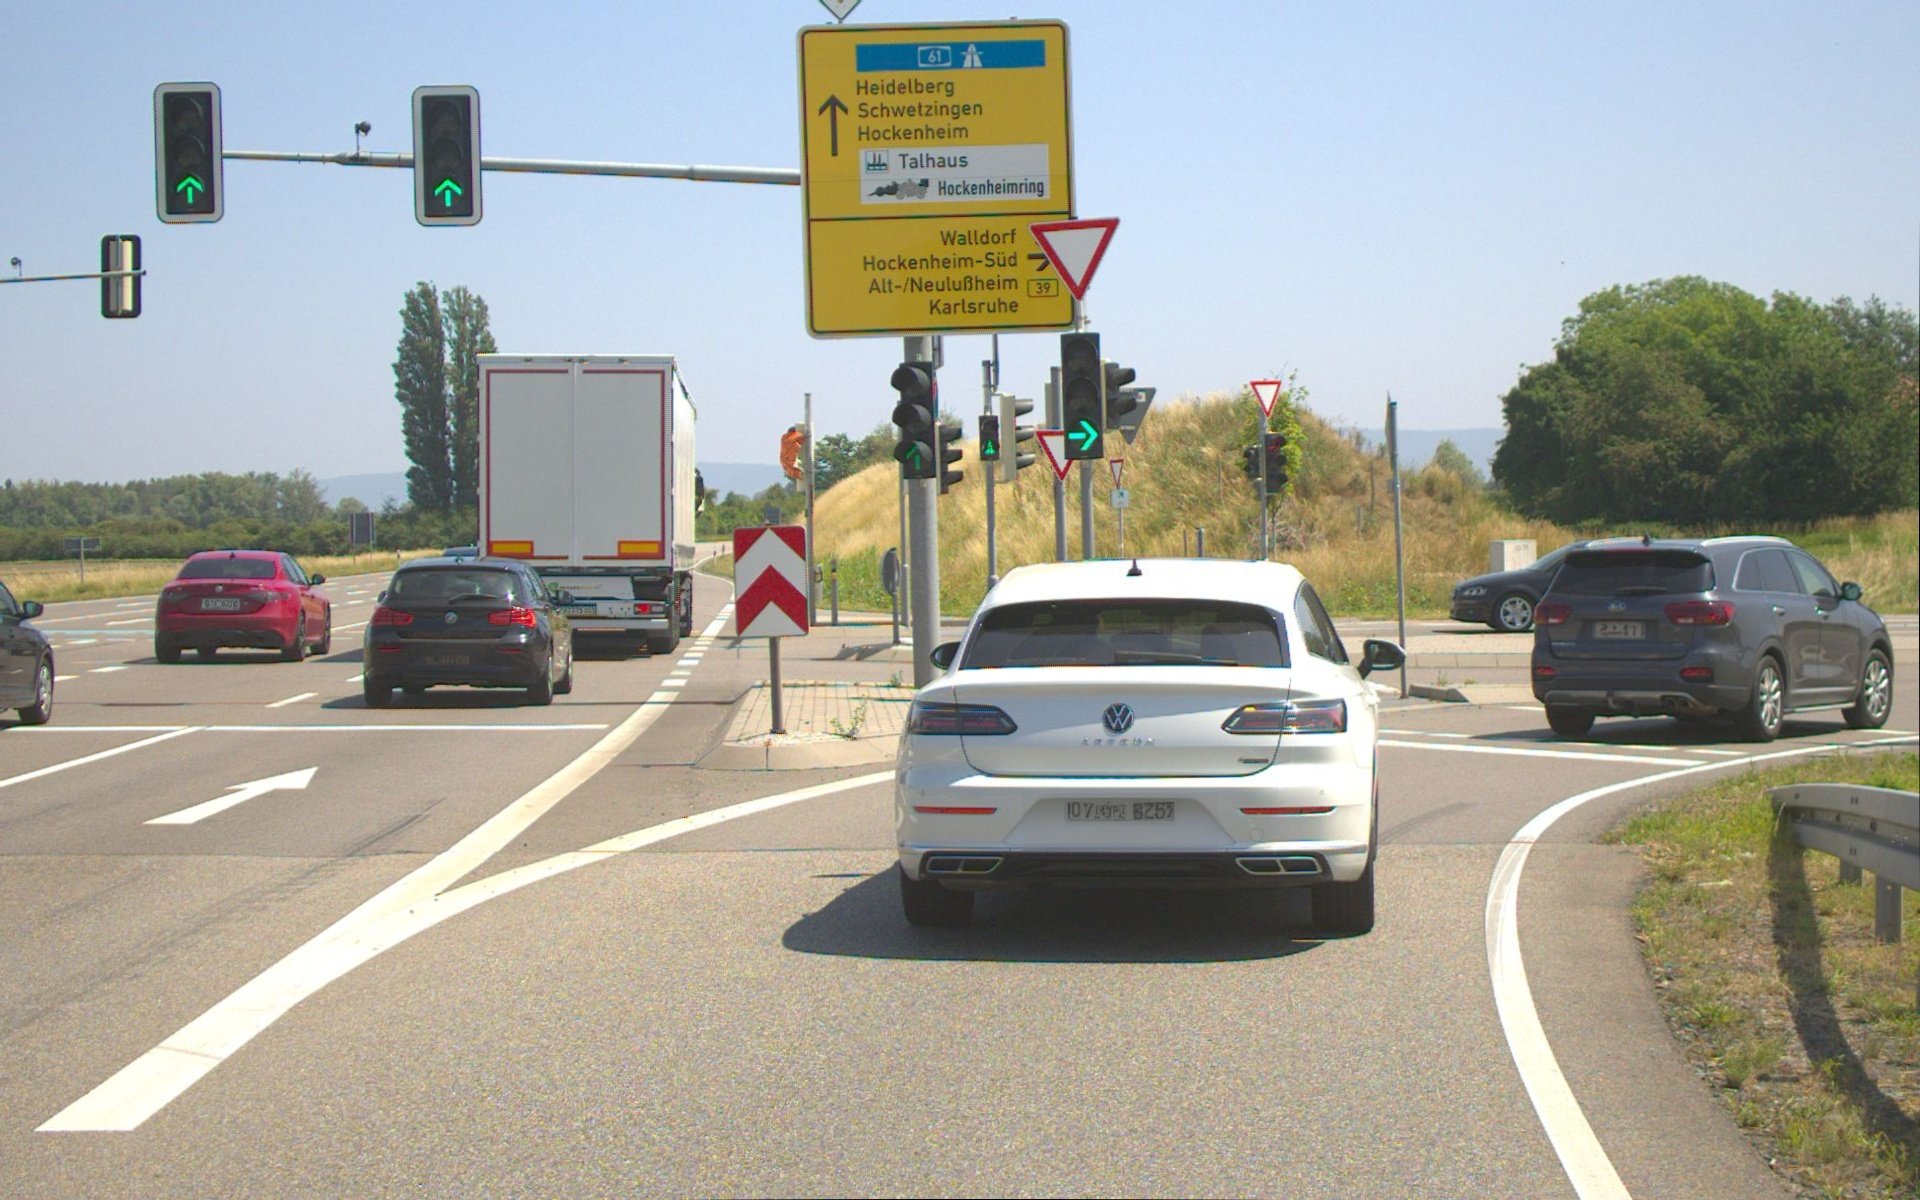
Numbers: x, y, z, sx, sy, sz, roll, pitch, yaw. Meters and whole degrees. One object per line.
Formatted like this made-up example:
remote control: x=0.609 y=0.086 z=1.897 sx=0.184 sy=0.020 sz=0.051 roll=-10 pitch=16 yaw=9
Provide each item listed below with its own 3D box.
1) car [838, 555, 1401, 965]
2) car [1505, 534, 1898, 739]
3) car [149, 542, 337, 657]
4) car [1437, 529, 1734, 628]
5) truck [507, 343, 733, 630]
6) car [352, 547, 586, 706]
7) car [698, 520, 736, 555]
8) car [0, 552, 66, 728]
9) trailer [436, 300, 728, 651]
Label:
car: x=0.841 y=0.534 z=14.407 sx=1.848 sy=1.428 sz=4.606 roll=0 pitch=1 yaw=9
car: x=6.417 y=0.266 z=29.390 sx=1.938 sy=1.611 sz=4.370 roll=0 pitch=1 yaw=32
car: x=-9.485 y=-0.046 z=45.771 sx=1.749 sy=1.416 sz=4.567 roll=1 pitch=1 yaw=-3
car: x=9.604 y=-0.343 z=52.989 sx=4.260 sy=1.364 sz=1.776 roll=-1 pitch=2 yaw=2
truck: x=-5.599 y=-1.842 z=57.706 sx=3.381 sy=4.527 sz=6.373 roll=0 pitch=1 yaw=-2
car: x=-4.799 y=0.215 z=34.106 sx=1.784 sy=1.426 sz=4.381 roll=1 pitch=1 yaw=-1
car: x=-13.199 y=-3.388 z=186.718 sx=1.980 sy=1.862 sz=4.468 roll=0 pitch=1 yaw=-5
car: x=-8.505 y=0.318 z=27.595 sx=1.674 sy=1.407 sz=4.467 roll=0 pitch=1 yaw=-2
trailer: x=-5.327 y=-1.710 z=50.960 sx=3.381 sy=4.527 sz=12.873 roll=0 pitch=1 yaw=-2
